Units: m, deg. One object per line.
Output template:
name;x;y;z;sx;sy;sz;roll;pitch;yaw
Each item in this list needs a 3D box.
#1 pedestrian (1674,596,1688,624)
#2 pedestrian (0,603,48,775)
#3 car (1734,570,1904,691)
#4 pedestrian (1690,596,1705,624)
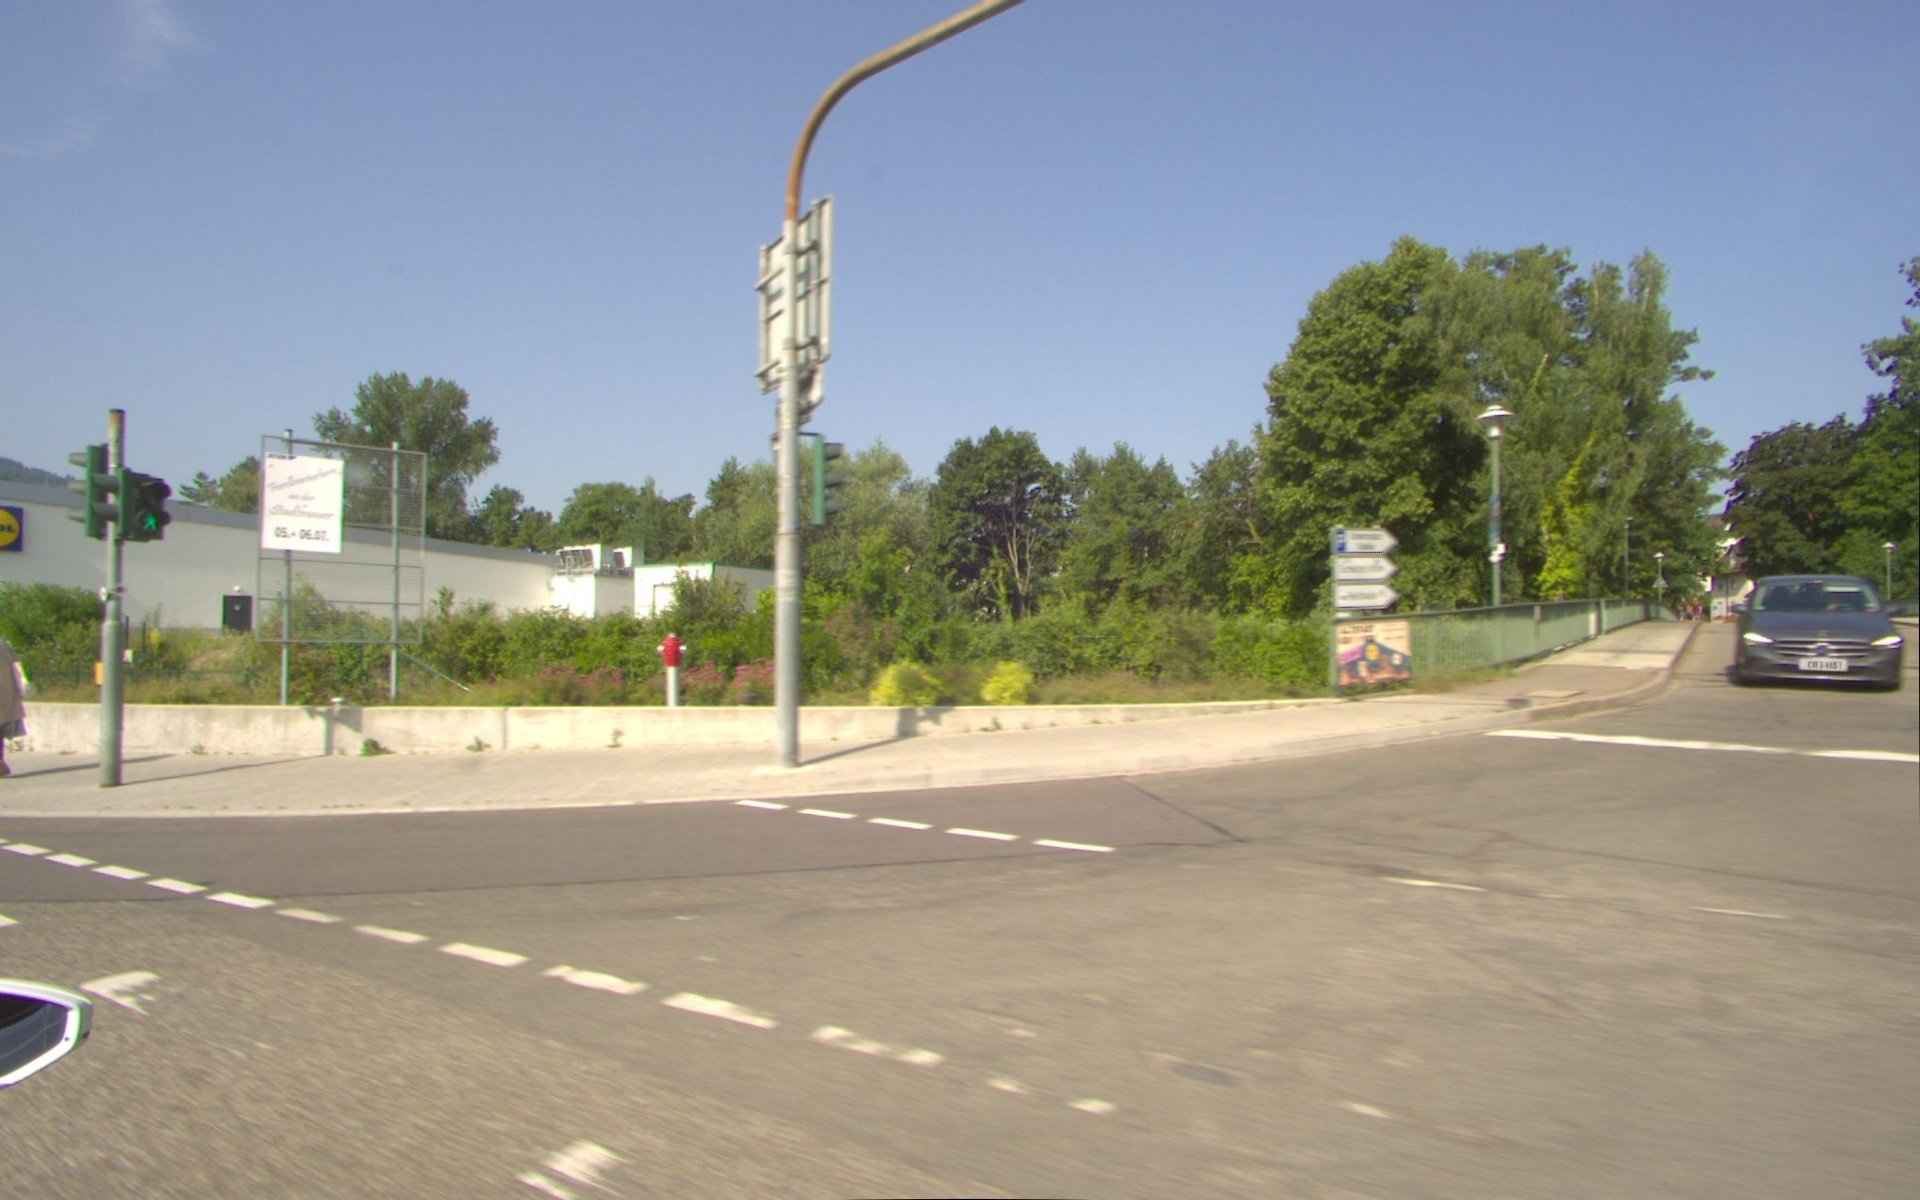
pedestrian;49.600;0.676;68.884;0.727;1.911;0.626;-1;-1;32
pedestrian;-9.722;0.885;10.043;0.584;1.692;0.710;-1;-1;30
car;12.553;0.387;14.845;1.647;1.538;4.055;-1;0;37
pedestrian;50.366;0.676;68.397;0.727;1.927;0.626;-1;-1;32
